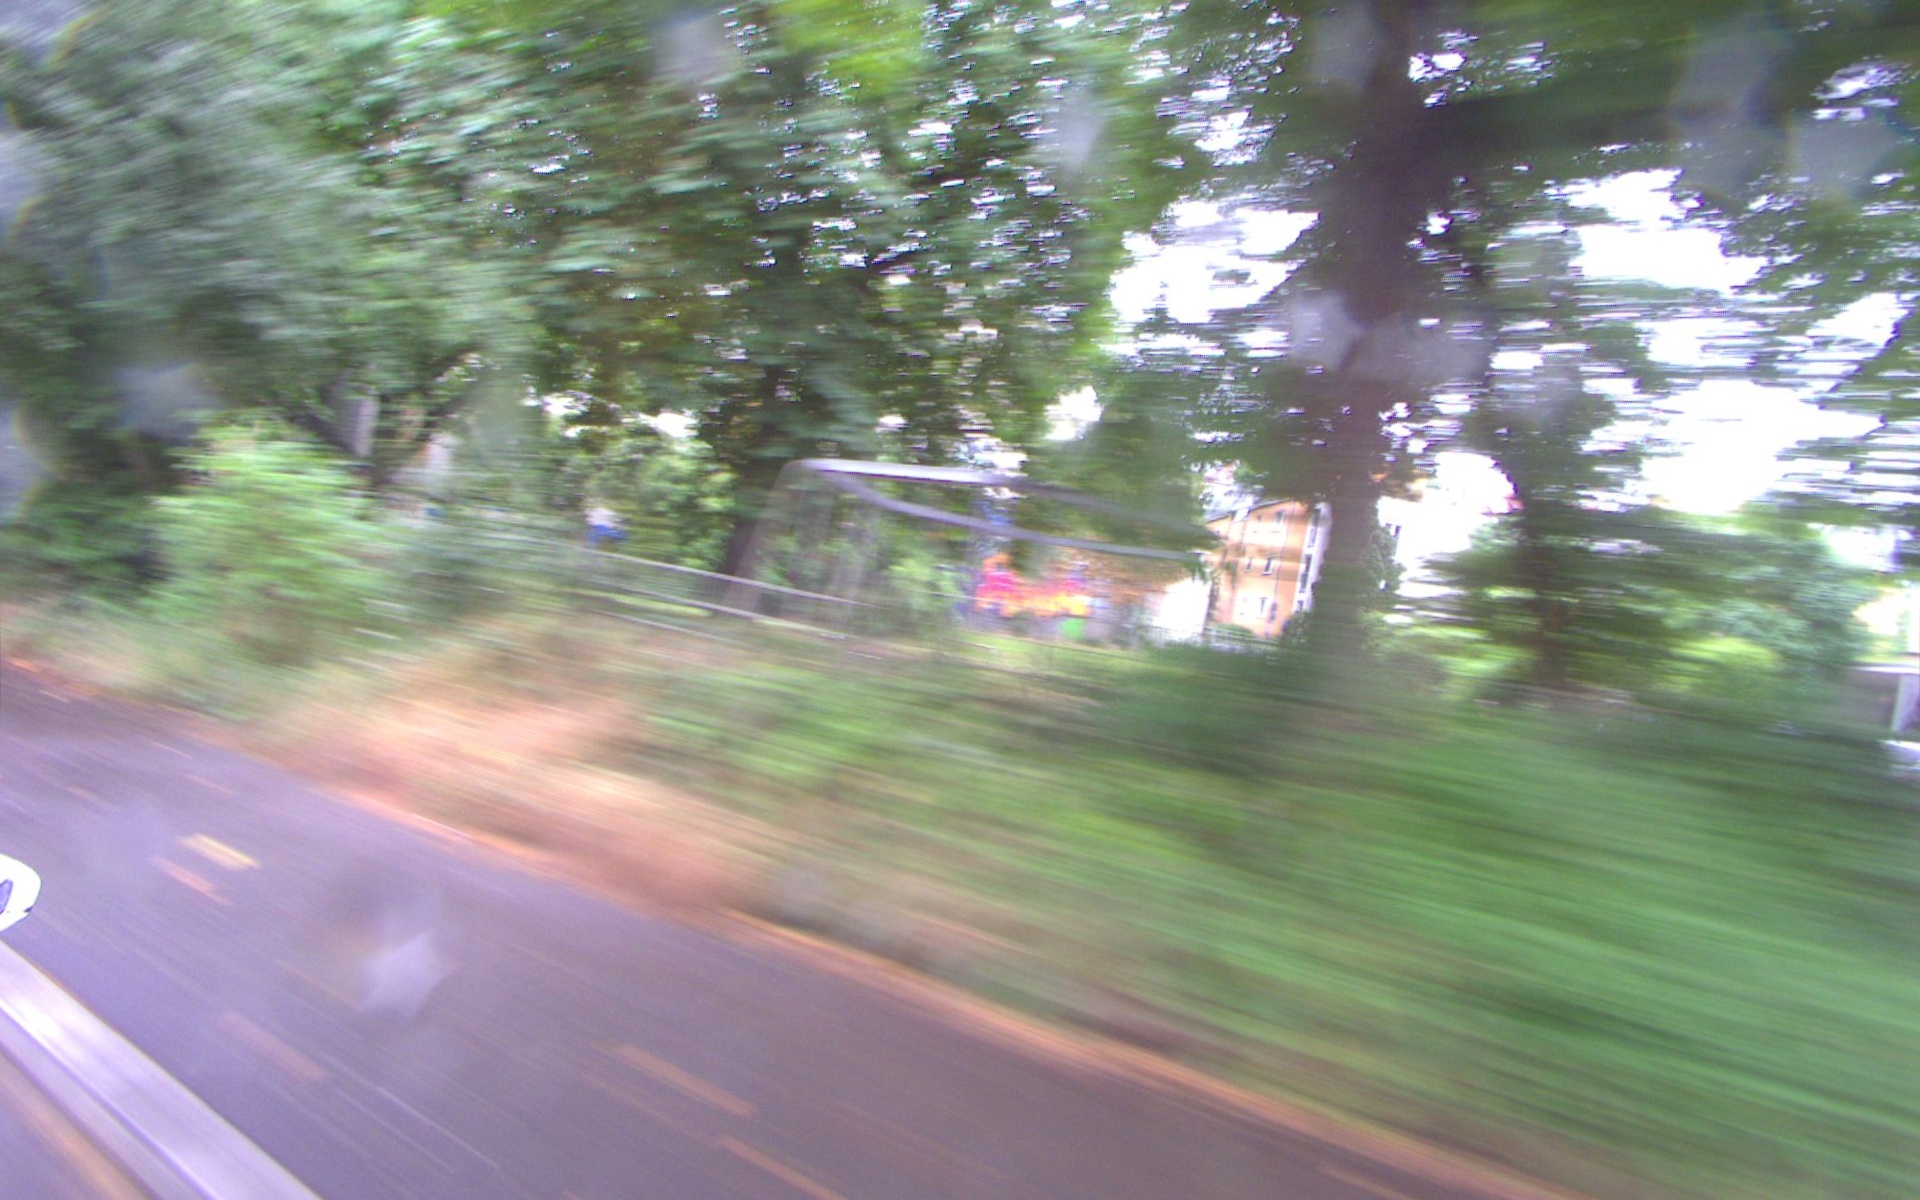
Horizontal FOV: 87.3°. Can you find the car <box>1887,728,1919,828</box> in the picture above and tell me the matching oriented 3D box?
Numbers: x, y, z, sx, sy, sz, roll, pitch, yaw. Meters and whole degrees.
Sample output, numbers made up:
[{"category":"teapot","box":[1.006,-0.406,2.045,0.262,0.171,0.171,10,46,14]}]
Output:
[{"category":"car","box":[19.579,3.529,18.598,4.064,1.750,1.989,7,0,-23]}]
